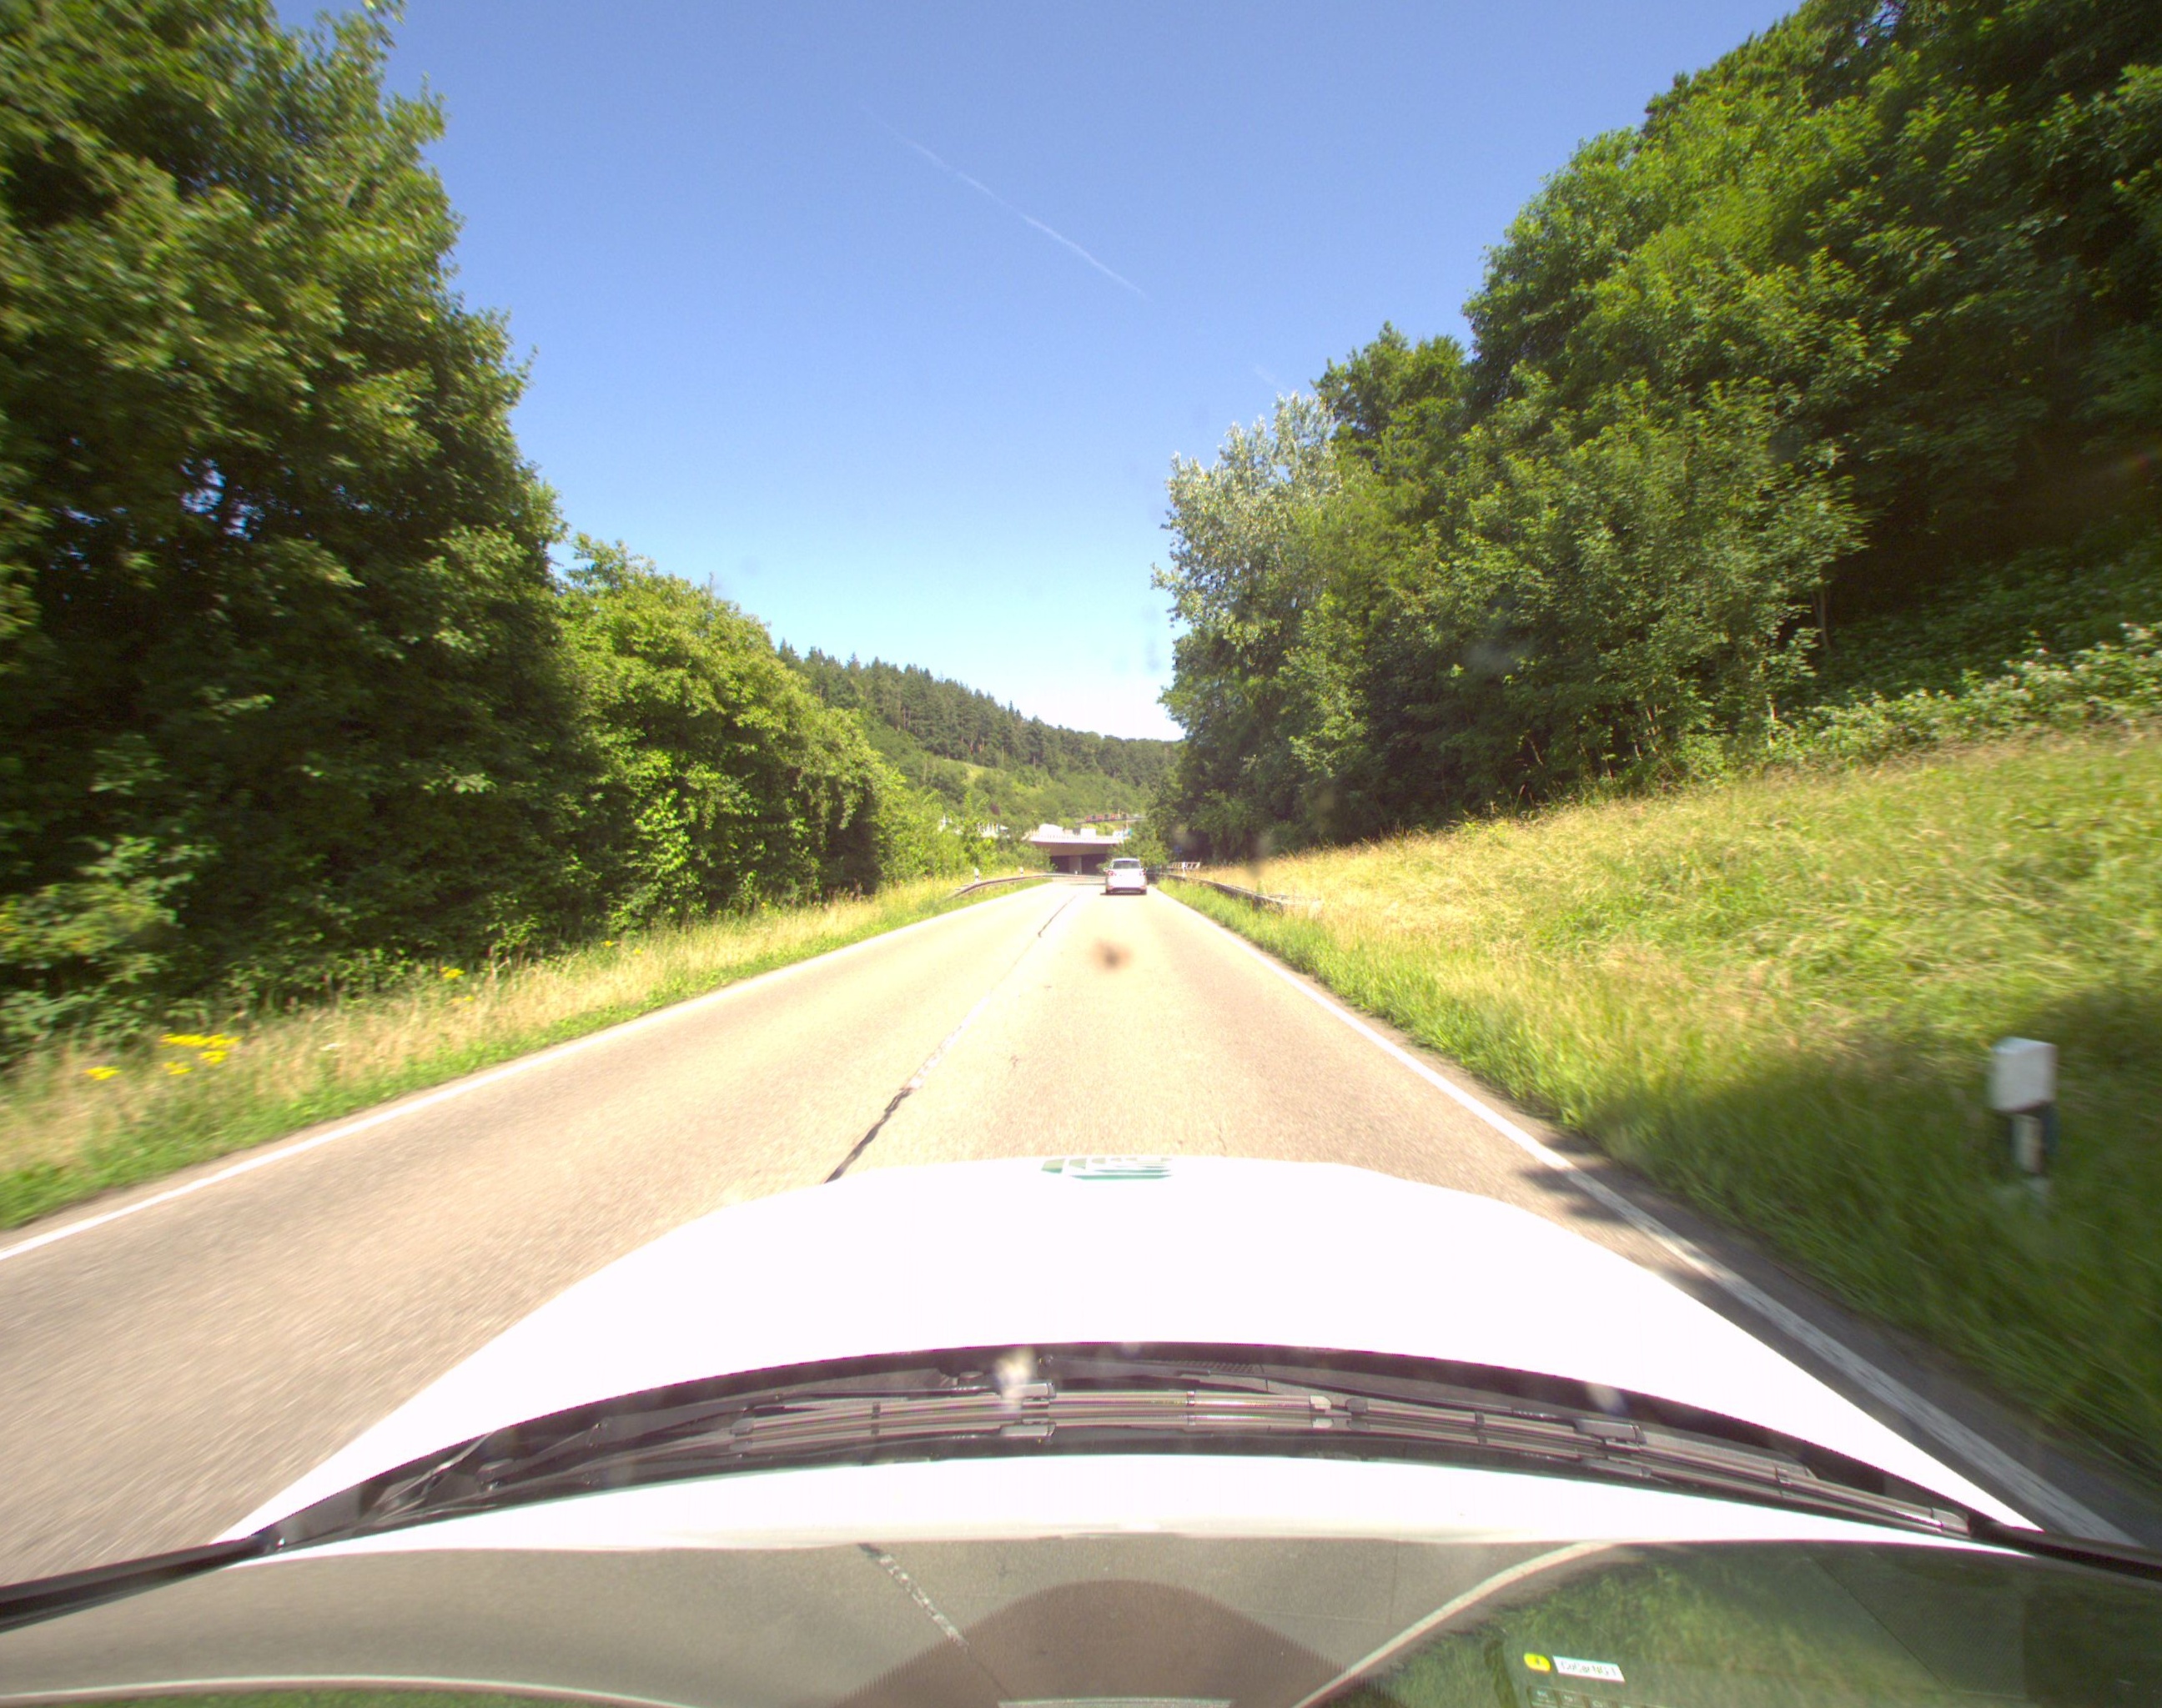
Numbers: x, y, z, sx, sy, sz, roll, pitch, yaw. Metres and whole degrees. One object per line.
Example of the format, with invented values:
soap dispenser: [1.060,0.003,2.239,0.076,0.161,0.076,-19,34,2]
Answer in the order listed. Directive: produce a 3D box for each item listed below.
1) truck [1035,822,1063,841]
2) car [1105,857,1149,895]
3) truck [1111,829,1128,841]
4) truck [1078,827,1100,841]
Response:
truck: [-6.515,-4.601,168.342,3.347,3.355,10.209,-1,-1,12]
car: [1.972,0.916,35.290,1.744,1.520,4.161,-1,-1,3]
truck: [12.280,-5.866,257.244,3.516,3.423,9.934,-1,0,13]
truck: [2.240,-5.202,213.168,3.734,3.385,10.542,-1,0,12]
